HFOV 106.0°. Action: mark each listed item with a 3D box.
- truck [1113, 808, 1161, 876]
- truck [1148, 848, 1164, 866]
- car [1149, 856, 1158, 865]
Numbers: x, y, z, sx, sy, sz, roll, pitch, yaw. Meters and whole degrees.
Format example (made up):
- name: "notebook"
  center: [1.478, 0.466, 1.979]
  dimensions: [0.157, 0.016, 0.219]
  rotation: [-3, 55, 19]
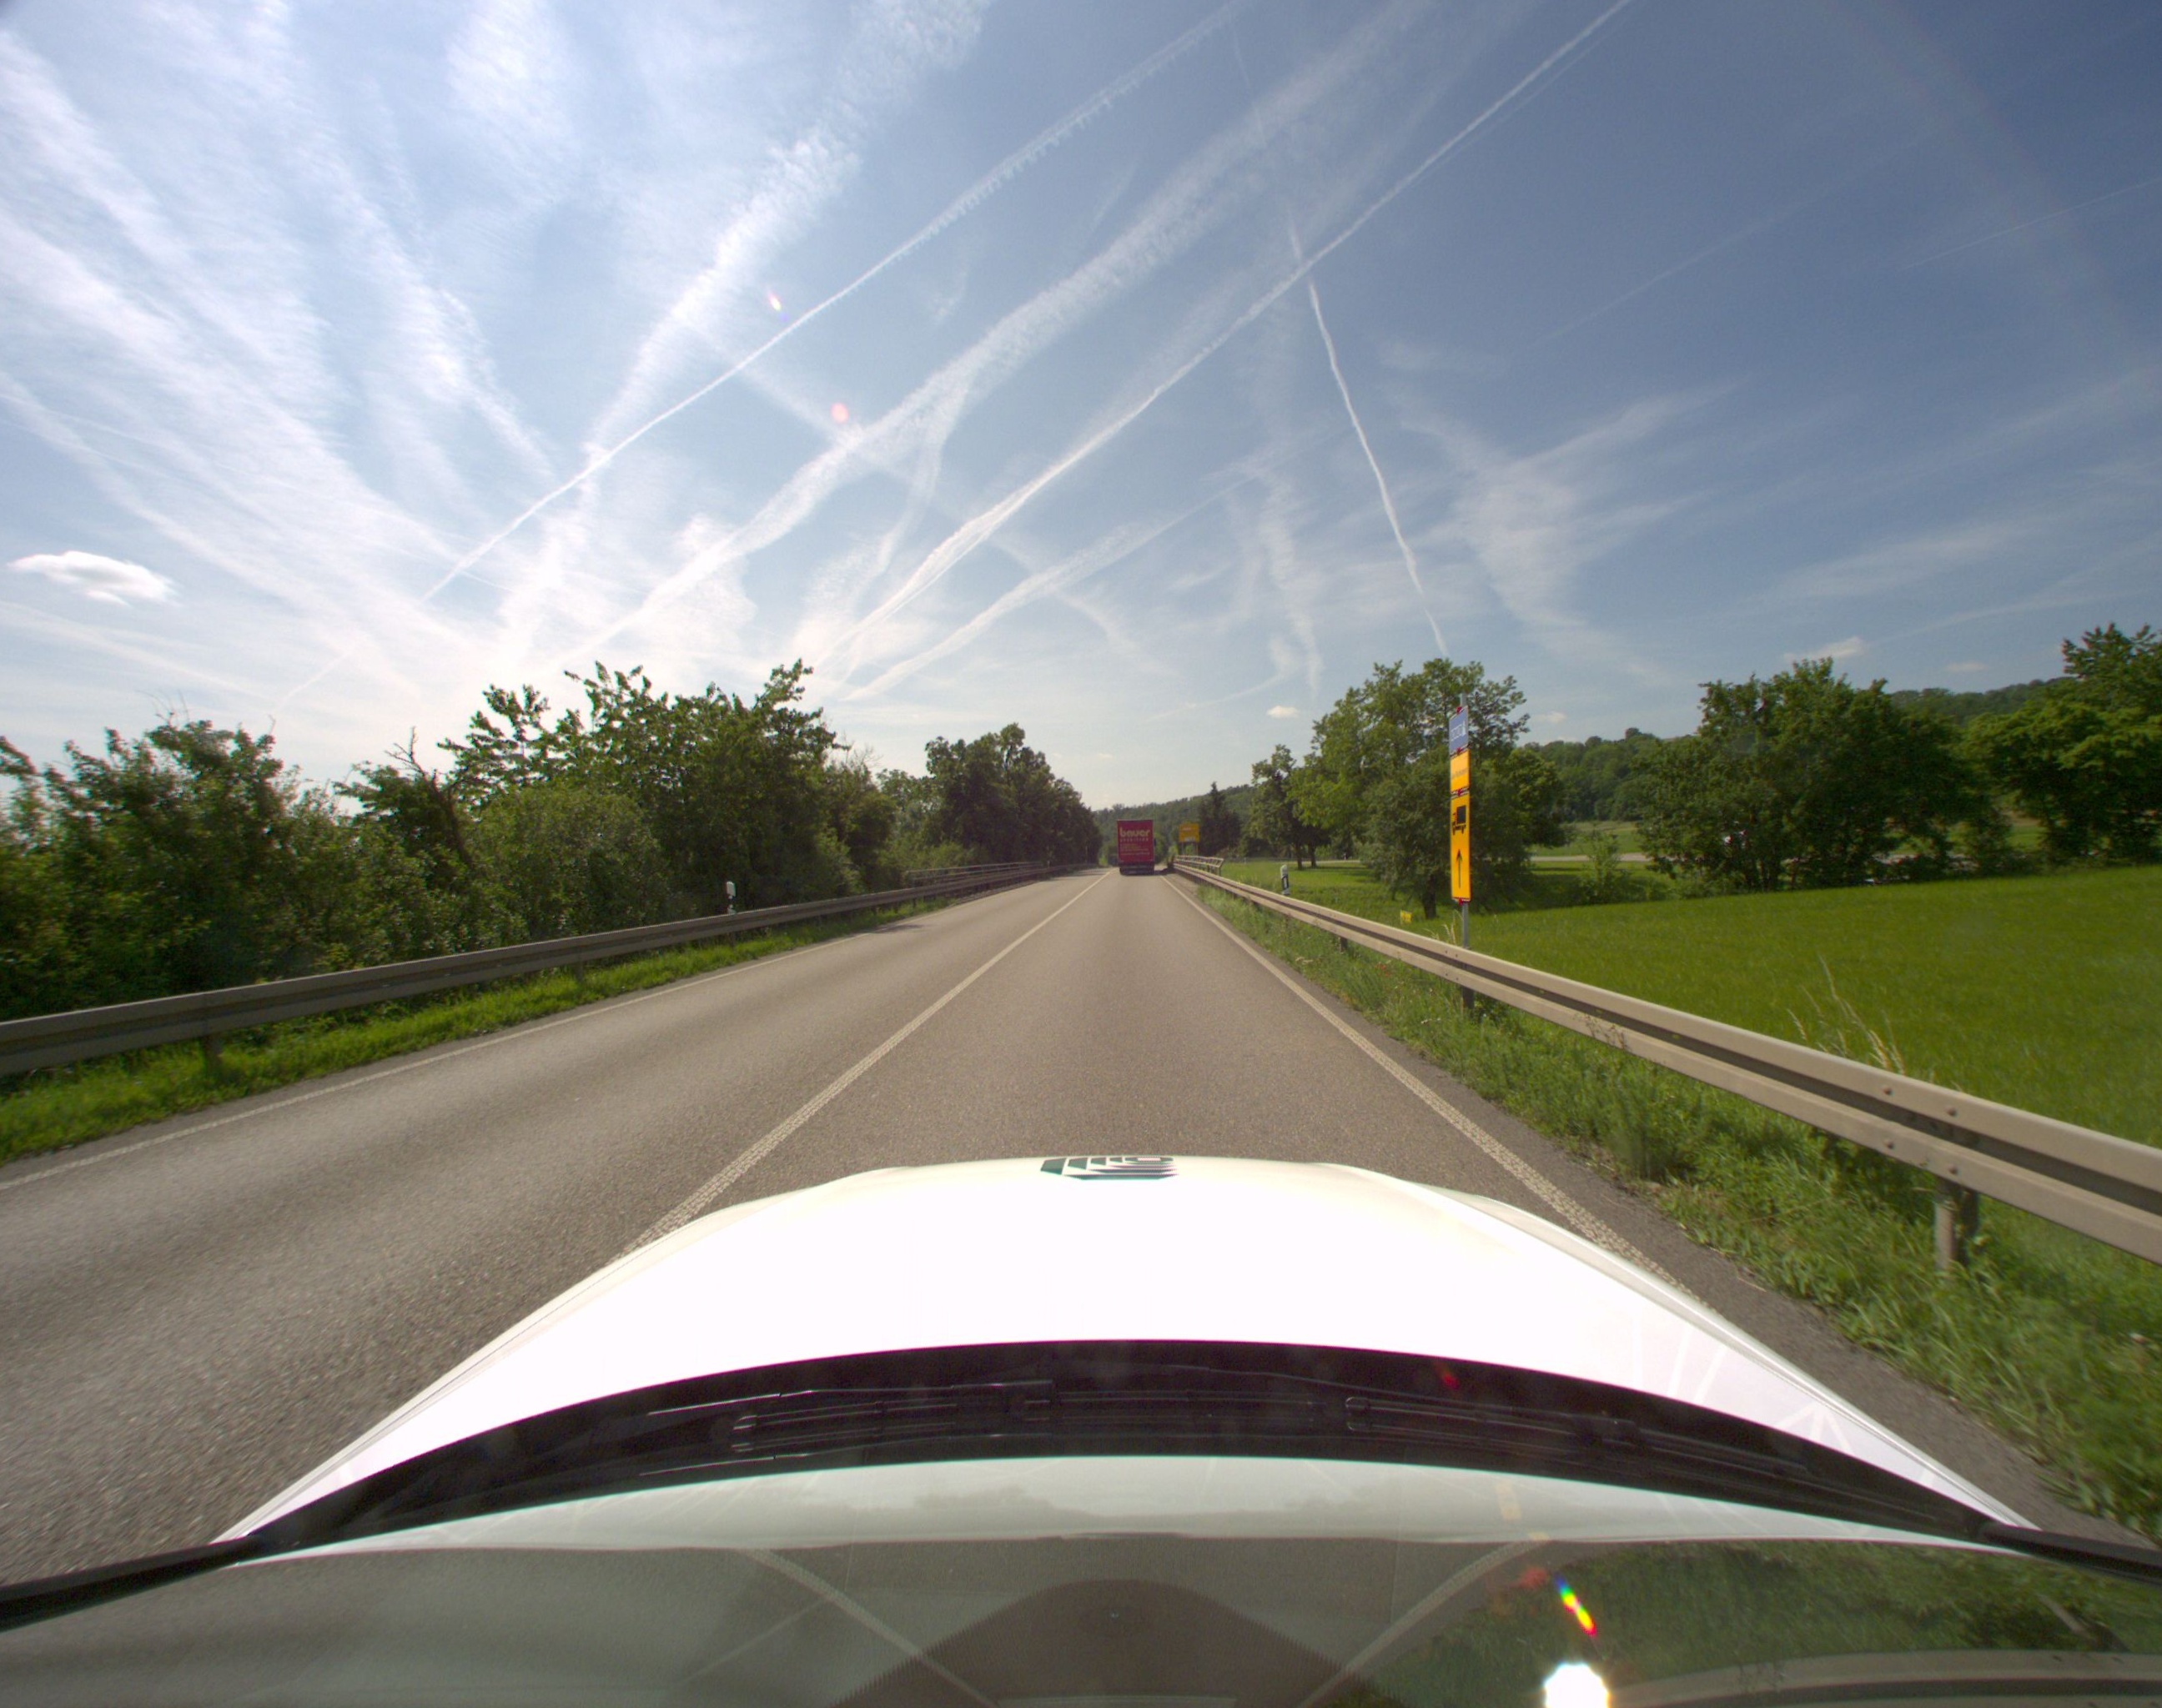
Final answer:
- name: "truck"
  center: [4.421, -0.864, 63.545]
  dimensions: [3.157, 4.625, 13.561]
  rotation: [-2, 0, 5]
- name: "truck"
  center: [19.334, 0.826, 208.806]
  dimensions: [3.885, 4.370, 13.314]
  rotation: [0, -2, 6]
- name: "car"
  center: [15.808, 1.433, 177.551]
  dimensions: [1.985, 1.810, 4.003]
  rotation: [1, -2, 3]
